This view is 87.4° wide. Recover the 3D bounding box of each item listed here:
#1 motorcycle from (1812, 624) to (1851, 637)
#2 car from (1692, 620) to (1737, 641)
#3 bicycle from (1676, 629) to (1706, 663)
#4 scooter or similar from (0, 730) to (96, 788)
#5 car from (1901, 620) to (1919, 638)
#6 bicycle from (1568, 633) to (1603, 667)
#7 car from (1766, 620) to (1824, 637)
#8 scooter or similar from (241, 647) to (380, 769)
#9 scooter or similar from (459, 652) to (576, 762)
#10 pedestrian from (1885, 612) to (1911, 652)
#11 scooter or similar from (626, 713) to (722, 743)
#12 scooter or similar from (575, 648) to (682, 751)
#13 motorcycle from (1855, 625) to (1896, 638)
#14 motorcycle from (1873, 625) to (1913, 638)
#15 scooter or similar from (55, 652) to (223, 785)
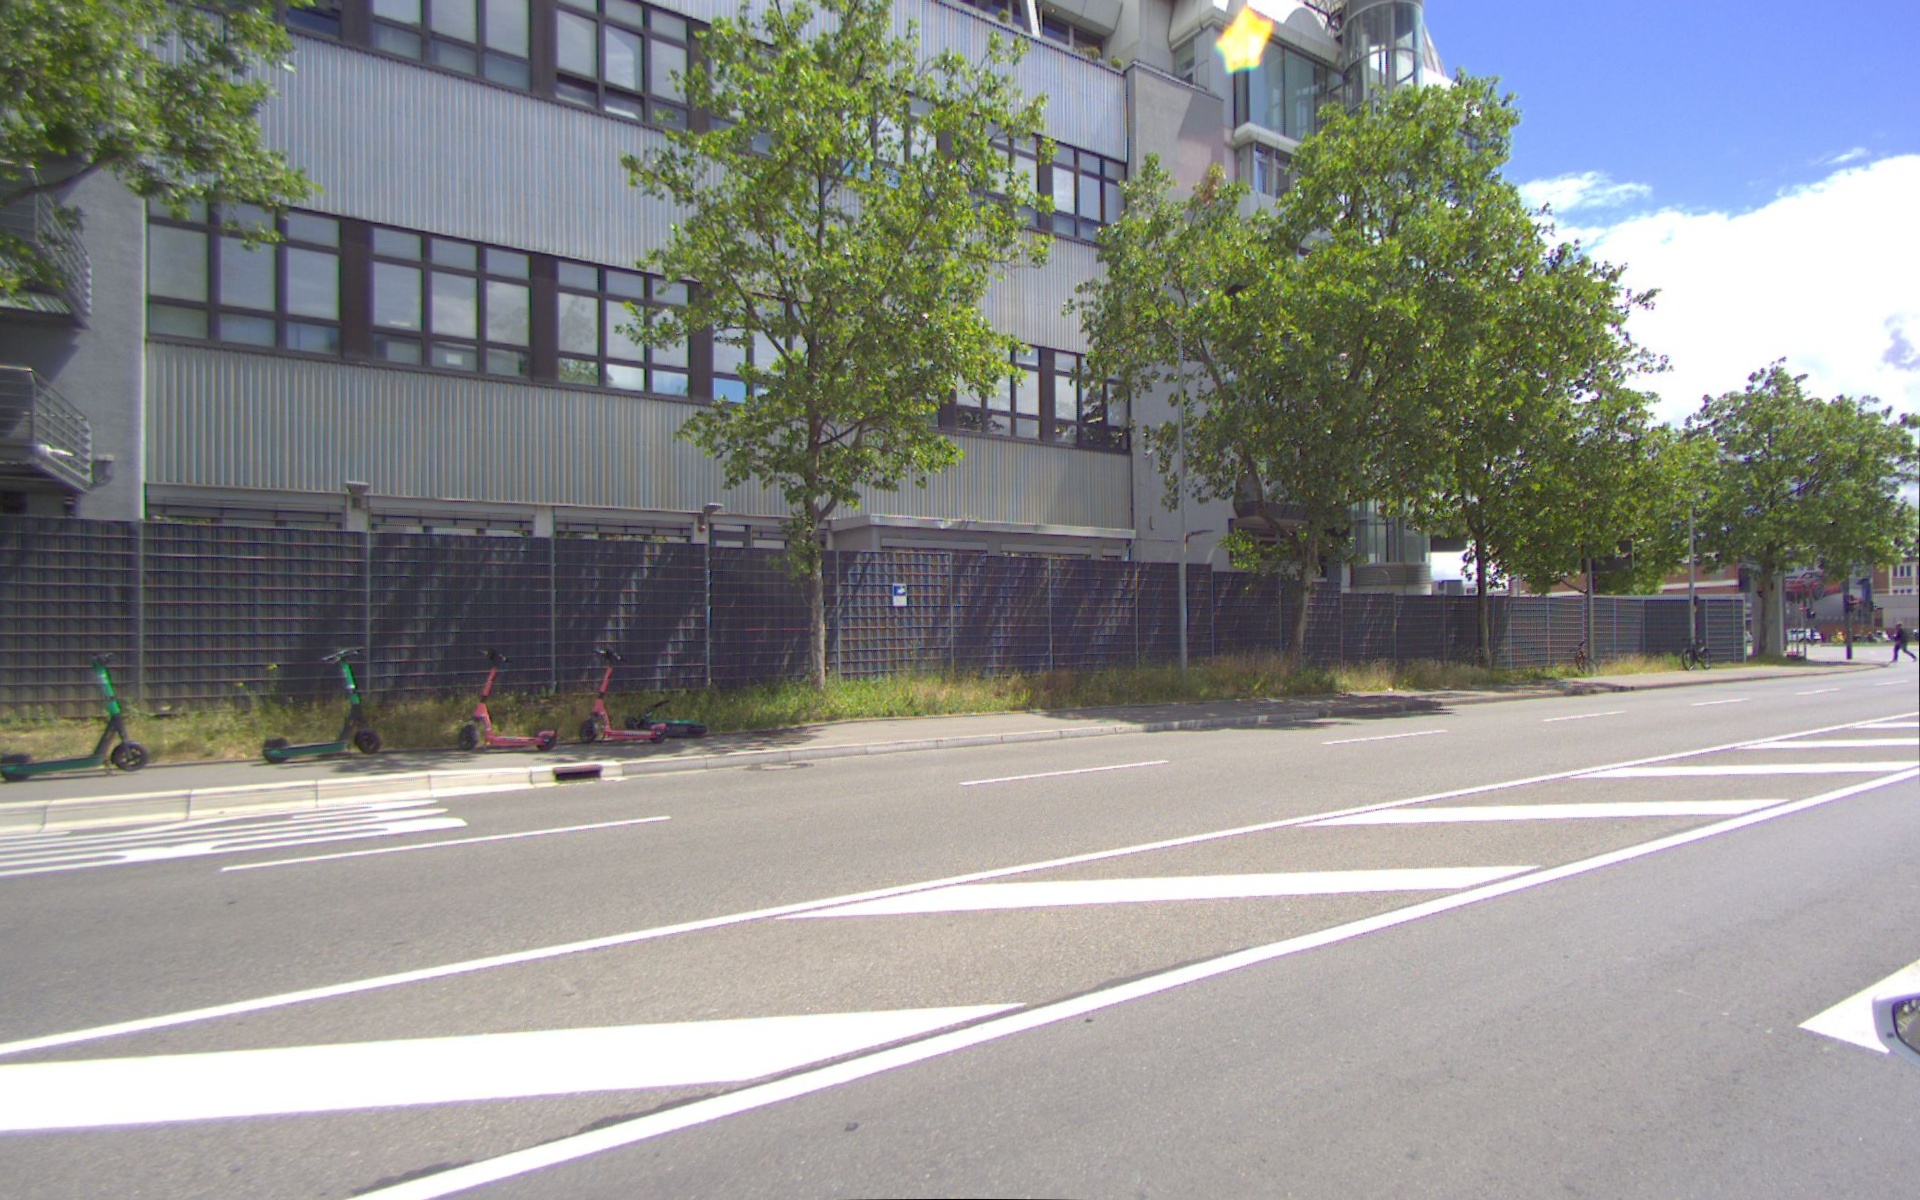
[{"bbox_3d":[85.048,3.004,98.050,0.905,1.211,2.904,1,-1,-15],"label":"motorcycle"},{"bbox_3d":[66.942,2.668,89.196,1.873,1.820,3.778,1,-1,14],"label":"car"},{"bbox_3d":[25.175,1.585,34.578,1.467,1.146,0.295,1,0,-31],"label":"bicycle"},{"bbox_3d":[-10.207,1.643,10.331,1.460,0.385,1.364,1,2,2],"label":"scooter or similar"},{"bbox_3d":[97.374,2.916,101.148,1.677,1.828,3.471,1,-1,-17],"label":"car"},{"bbox_3d":[19.605,1.565,31.479,1.234,1.019,0.296,1,0,-24],"label":"bicycle"},{"bbox_3d":[81.723,2.777,98.389,1.965,1.520,3.990,1,-1,-13],"label":"car"},{"bbox_3d":[-7.427,1.205,11.524,1.304,1.251,0.519,0,2,-34],"label":"scooter or similar"},{"bbox_3d":[-5.603,1.326,12.725,1.303,1.251,0.520,0,2,-32],"label":"scooter or similar"},{"bbox_3d":[43.357,1.476,46.447,0.854,1.797,1.029,0,-1,43],"label":"pedestrian"},{"bbox_3d":[-4.051,1.820,14.305,1.249,0.327,0.538,0,0,-9],"label":"scooter or similar"},{"bbox_3d":[-4.435,1.305,13.434,1.301,1.251,0.521,0,2,-27],"label":"scooter or similar"},{"bbox_3d":[89.627,3.058,98.351,0.905,1.211,2.904,1,-1,-15],"label":"motorcycle"},{"bbox_3d":[92.023,3.132,99.101,0.905,1.211,2.904,1,-1,-15],"label":"motorcycle"},{"bbox_3d":[-8.695,1.223,10.702,1.304,1.251,0.519,-1,3,-34],"label":"scooter or similar"}]
